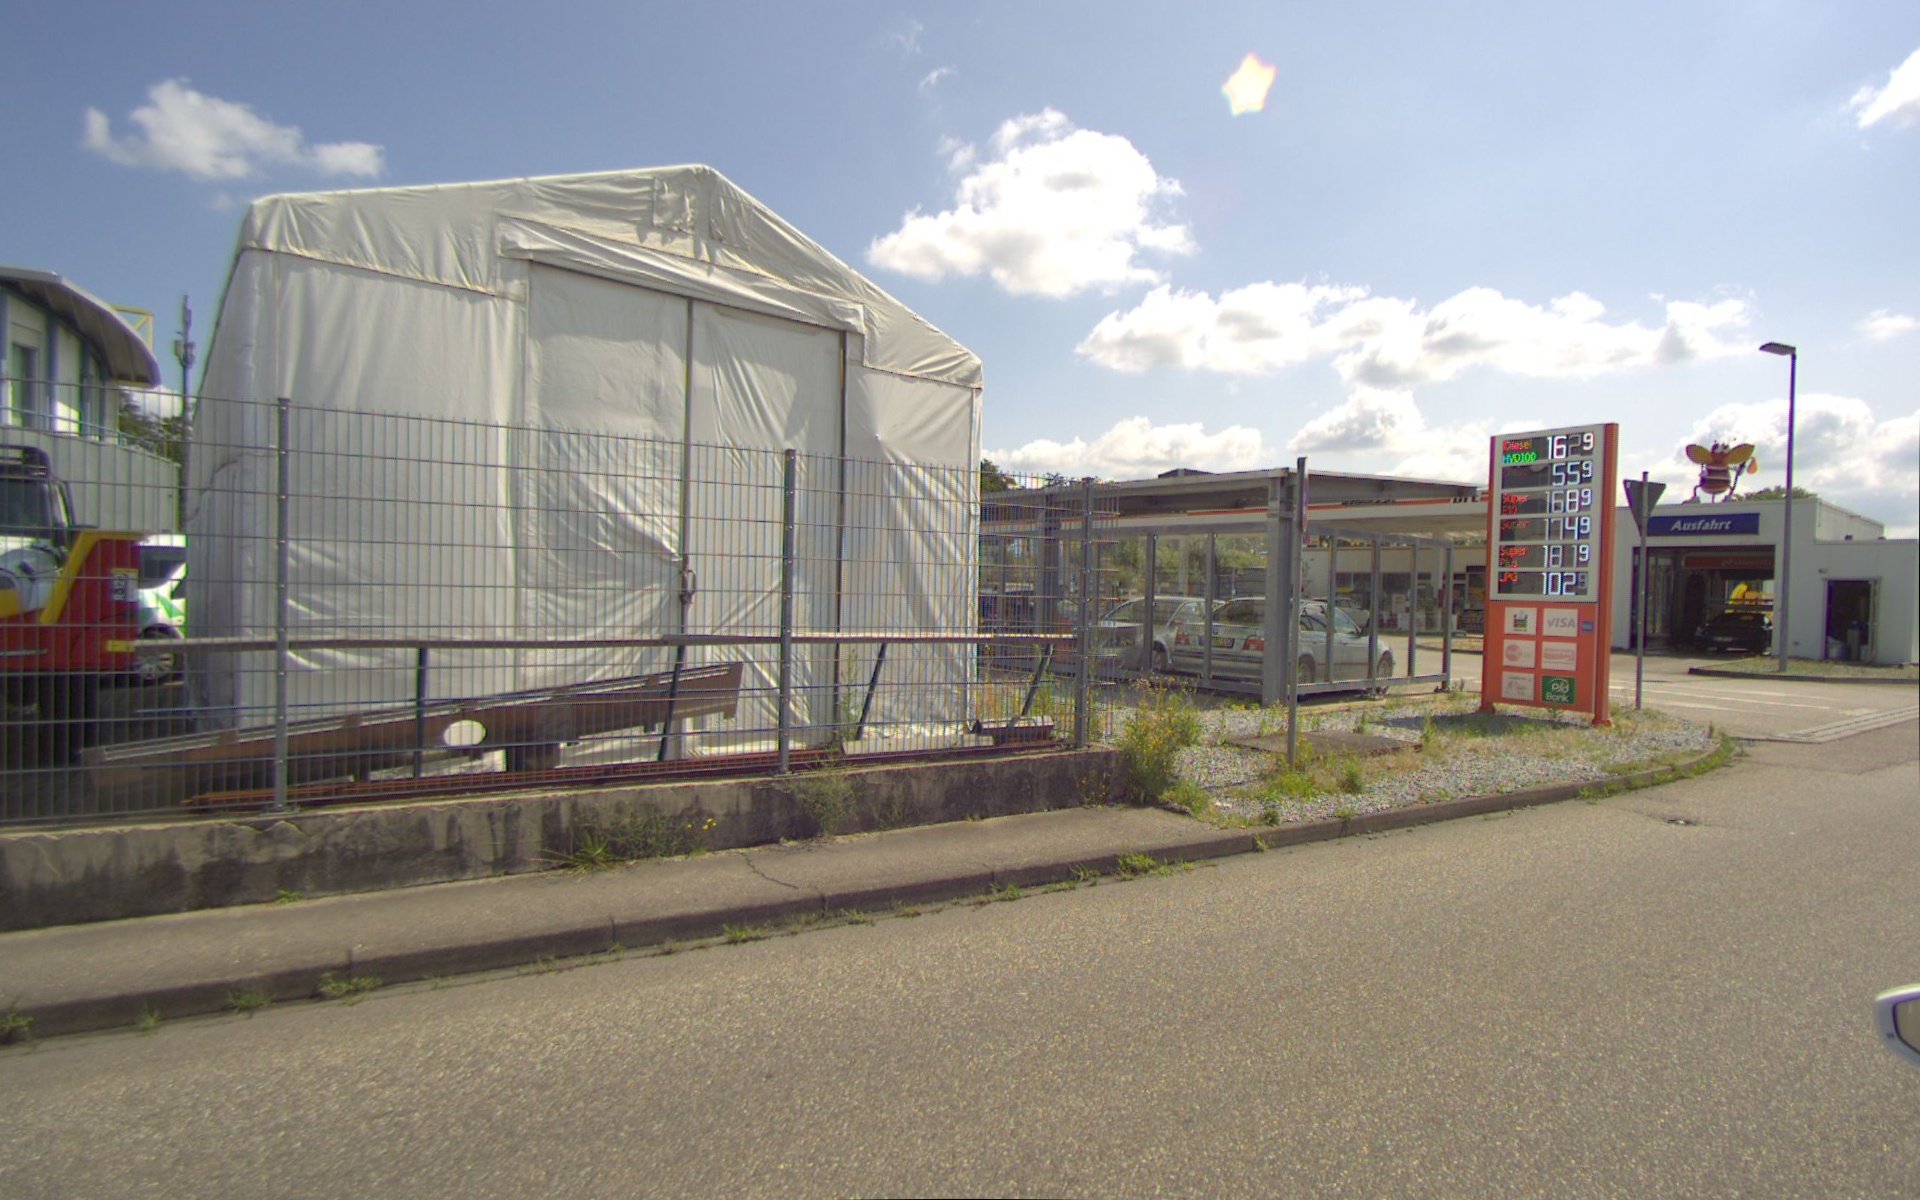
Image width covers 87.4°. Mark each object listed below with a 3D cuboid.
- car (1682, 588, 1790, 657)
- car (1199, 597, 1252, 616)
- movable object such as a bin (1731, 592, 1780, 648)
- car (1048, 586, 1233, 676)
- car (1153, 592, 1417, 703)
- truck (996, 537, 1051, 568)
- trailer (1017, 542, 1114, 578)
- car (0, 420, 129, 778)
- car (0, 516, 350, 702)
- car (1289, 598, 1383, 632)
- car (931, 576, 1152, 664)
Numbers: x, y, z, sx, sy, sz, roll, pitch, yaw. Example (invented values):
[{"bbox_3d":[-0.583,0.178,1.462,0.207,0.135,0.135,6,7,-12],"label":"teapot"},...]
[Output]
[{"bbox_3d":[26.005,0.734,33.611,4.973,2.137,1.975,2,0,-42],"label":"car"},{"bbox_3d":[22.319,0.523,84.426,1.875,1.525,3.951,2,0,-41],"label":"car"},{"bbox_3d":[32.781,0.848,41.391,2.683,2.181,1.053,3,-1,-41],"label":"movable object such as a bin"},{"bbox_3d":[3.142,0.509,17.296,3.033,1.362,1.579,2,1,-42],"label":"car"},{"bbox_3d":[5.157,0.670,15.542,4.760,1.396,1.898,2,1,-45],"label":"car"},{"bbox_3d":[6.319,-4.604,98.722,2.121,2.661,5.810,1,0,44],"label":"truck"},{"bbox_3d":[11.059,-4.022,103.633,2.121,3.004,13.415,1,0,44],"label":"trailer"},{"bbox_3d":[-7.381,-0.044,7.093,2.044,2.053,4.511,2,0,-43],"label":"car"},{"bbox_3d":[-9.798,0.093,12.357,1.961,1.857,4.414,1,0,-2],"label":"car"},{"bbox_3d":[17.184,0.705,45.836,4.544,1.450,1.878,2,0,-37],"label":"car"},{"bbox_3d":[1.676,0.362,19.739,4.219,1.517,1.975,1,1,-42],"label":"car"}]
